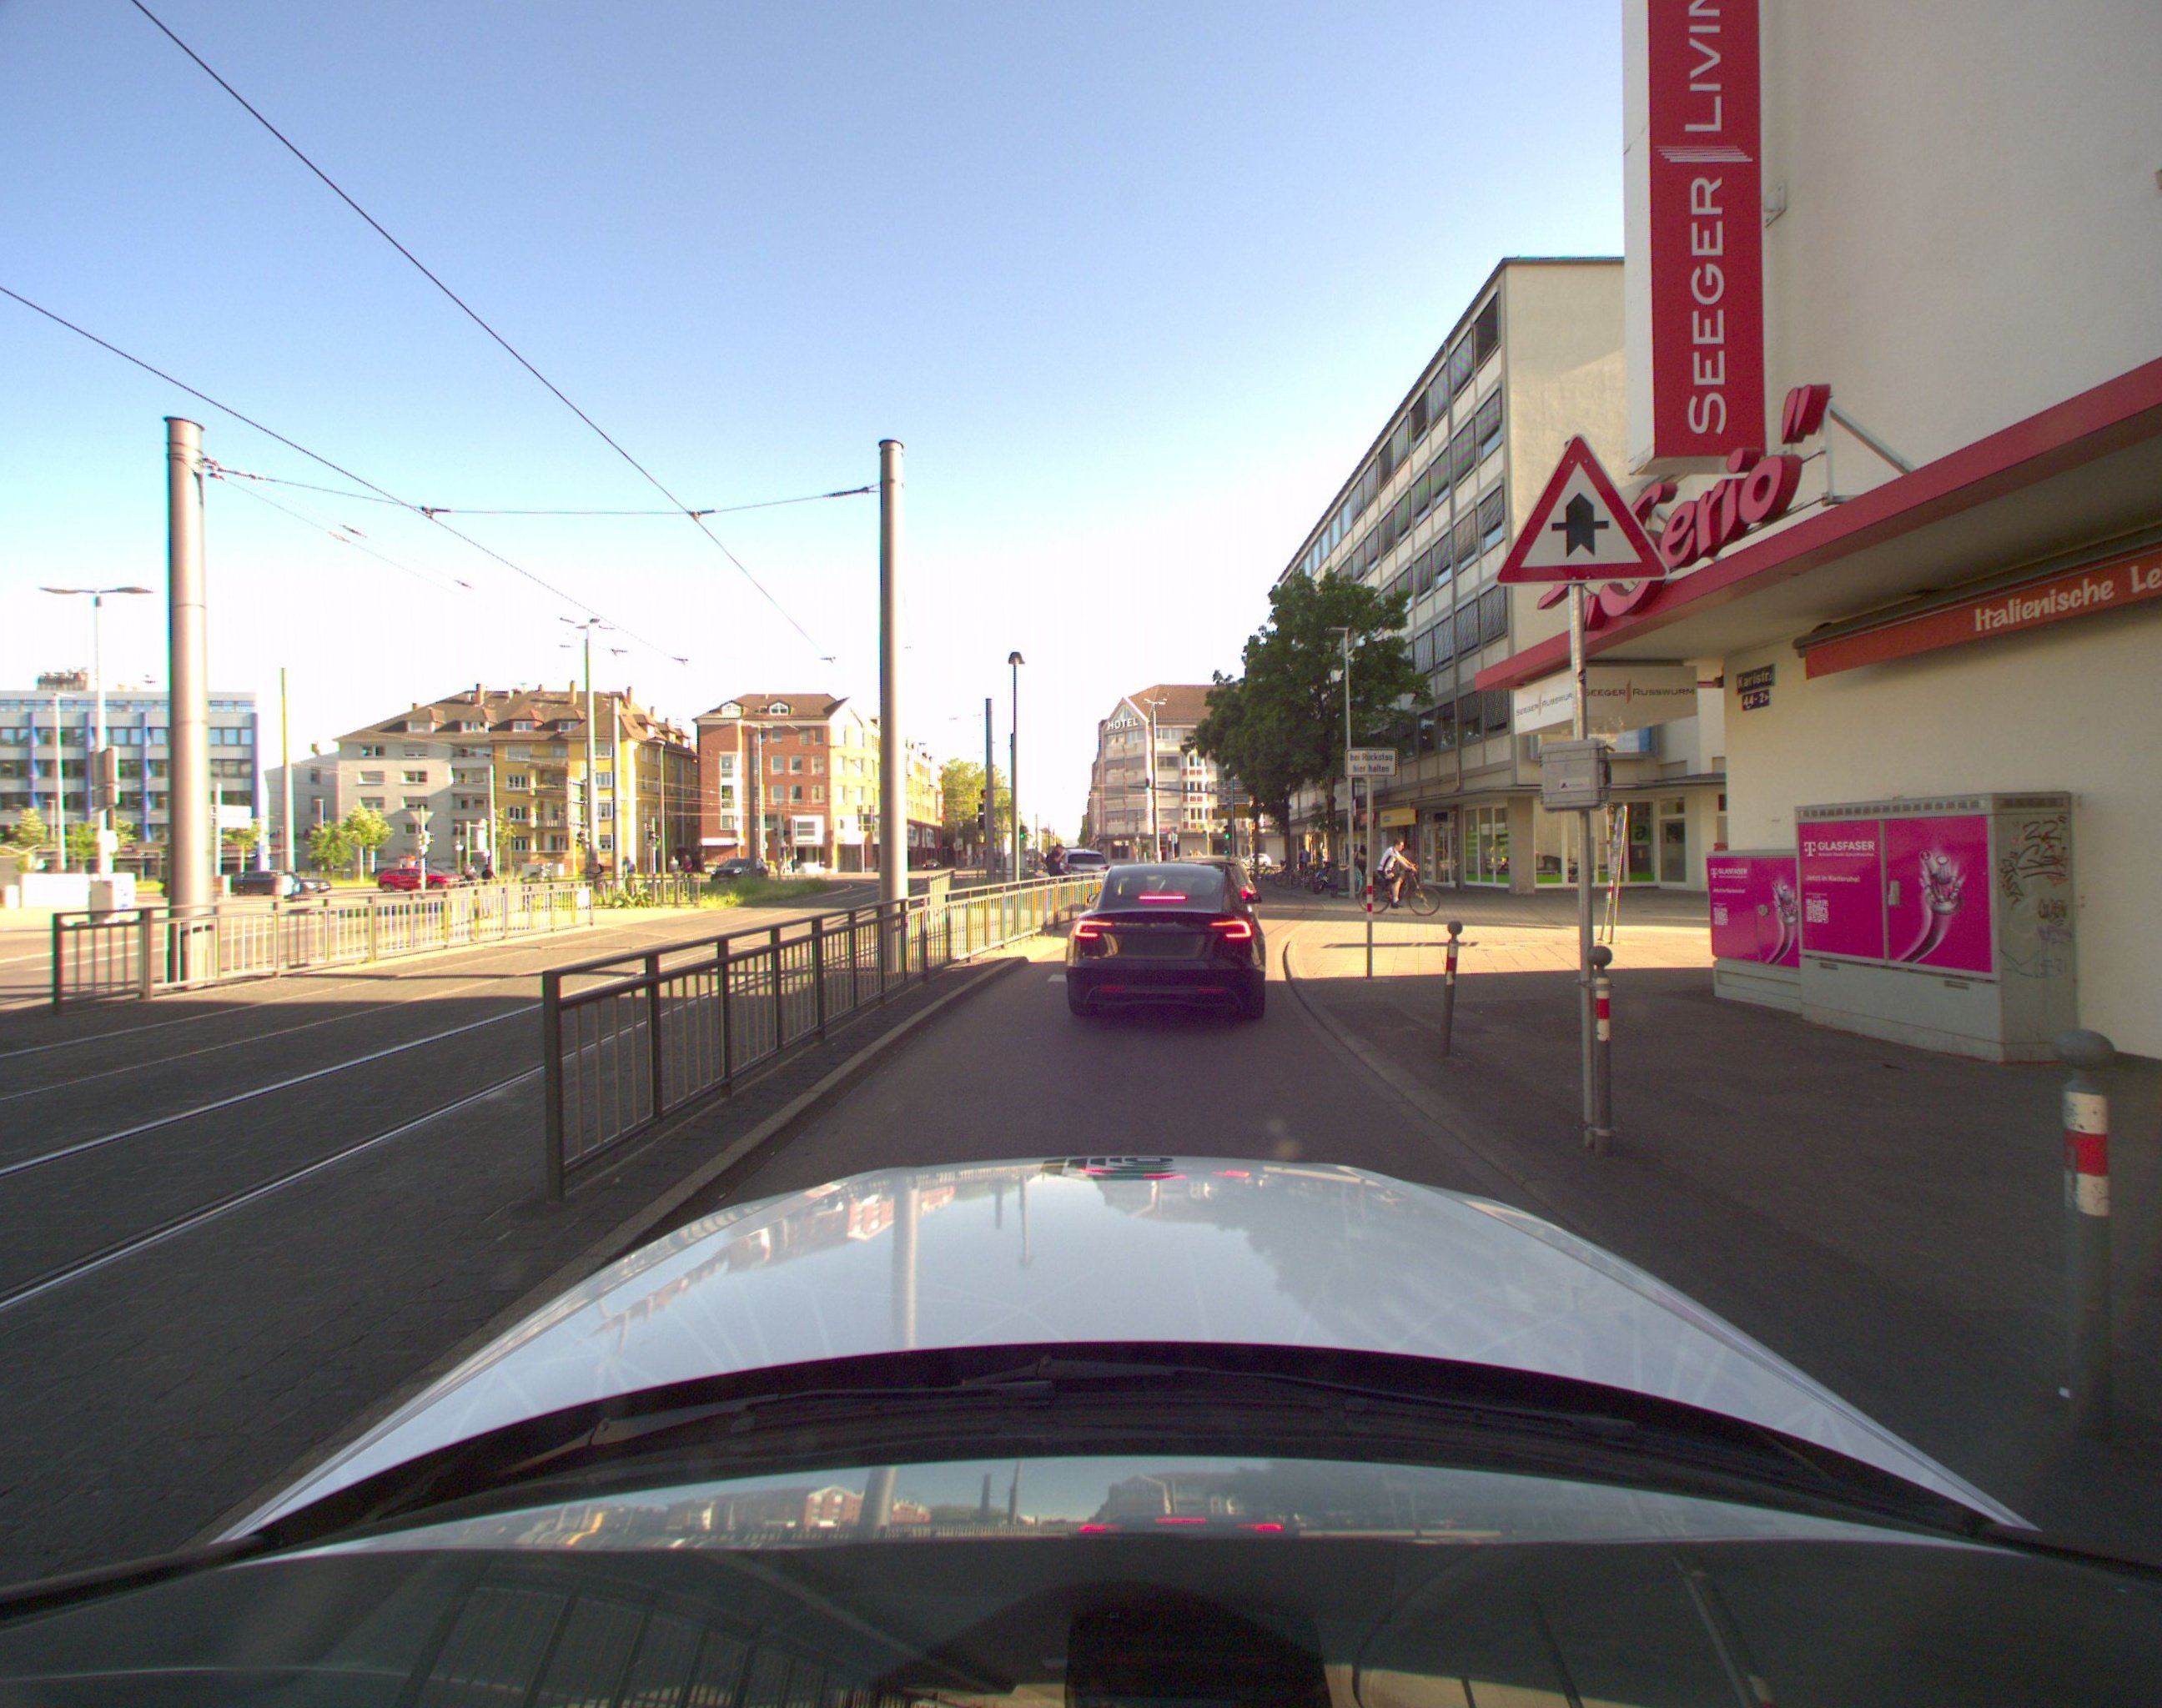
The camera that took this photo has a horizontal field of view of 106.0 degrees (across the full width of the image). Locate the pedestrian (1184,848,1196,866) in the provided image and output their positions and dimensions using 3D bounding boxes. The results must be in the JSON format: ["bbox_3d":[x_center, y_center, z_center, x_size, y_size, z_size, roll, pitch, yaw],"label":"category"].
[{"bbox_3d":[9.727,0.223,72.610,0.780,1.576,0.864,0,1,-13],"label":"pedestrian"}]

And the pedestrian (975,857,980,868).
[{"bbox_3d":[-13.950,1.165,109.667,0.584,1.531,0.634,0,-1,-15],"label":"pedestrian"}]

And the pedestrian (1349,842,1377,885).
[{"bbox_3d":[11.337,0.396,32.771,0.840,1.707,0.880,0,-1,1],"label":"pedestrian"}]

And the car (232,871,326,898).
[{"bbox_3d":[-46.344,1.728,47.119,3.695,1.472,1.572,0,-1,-6],"label":"car"}]

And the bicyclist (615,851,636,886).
[{"bbox_3d":[-21.876,0.709,39.108,0.518,1.673,0.771,0,-1,3],"label":"bicyclist"}]

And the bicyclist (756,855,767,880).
[{"bbox_3d":[-21.709,0.914,55.327,0.589,1.649,0.803,0,-1,-12],"label":"bicyclist"}]

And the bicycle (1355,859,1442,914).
[{"bbox_3d":[7.384,0.741,18.964,1.803,1.212,0.586,-1,-1,28],"label":"bicycle"}]

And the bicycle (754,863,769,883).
[{"bbox_3d":[-21.712,1.291,55.446,0.573,1.291,2.019,0,-1,-10],"label":"bicycle"}]

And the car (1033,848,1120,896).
[{"bbox_3d":[-0.218,0.617,29.206,1.848,1.635,3.457,0,-1,-25],"label":"car"}]

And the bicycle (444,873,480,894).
[{"bbox_3d":[-34.947,1.663,45.983,1.497,1.133,0.609,0,-1,-13],"label":"bicycle"}]

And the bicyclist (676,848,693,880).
[{"bbox_3d":[-21.316,0.546,43.801,0.518,1.673,0.771,0,-1,3],"label":"bicyclist"}]

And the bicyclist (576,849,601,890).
[{"bbox_3d":[-20.528,0.641,33.952,0.522,1.673,0.771,0,-1,3],"label":"bicyclist"}]

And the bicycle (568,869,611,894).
[{"bbox_3d":[-20.520,1.129,34.022,0.527,1.013,1.899,0,-1,4],"label":"bicycle"}]

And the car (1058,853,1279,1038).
[{"bbox_3d":[0.892,0.745,8.602,1.782,1.450,3.946,0,1,5],"label":"car"}]

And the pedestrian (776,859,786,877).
[{"bbox_3d":[-29.264,1.336,79.481,0.694,1.710,0.928,0,-1,-5],"label":"pedestrian"}]

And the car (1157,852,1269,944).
[{"bbox_3d":[2.363,0.696,15.270,1.755,1.444,4.537,0,0,7],"label":"car"}]

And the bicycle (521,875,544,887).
[{"bbox_3d":[-35.155,1.721,52.156,1.174,0.764,0.318,0,-1,-15],"label":"bicycle"}]

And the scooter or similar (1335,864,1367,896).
[{"bbox_3d":[8.955,0.859,27.018,0.952,1.039,0.160,-1,0,4],"label":"scooter or similar"}]

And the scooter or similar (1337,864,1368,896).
[{"bbox_3d":[8.940,0.846,26.820,0.959,1.043,0.160,-1,0,4],"label":"scooter or similar"}]

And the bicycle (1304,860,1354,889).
[{"bbox_3d":[9.506,0.781,31.226,1.850,1.056,0.398,-2,0,-10],"label":"bicycle"}]

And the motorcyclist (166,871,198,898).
[{"bbox_3d":[-51.764,1.747,46.892,0.919,1.524,0.781,0,-1,-5],"label":"motorcyclist"}]

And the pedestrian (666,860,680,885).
[{"bbox_3d":[-27.527,1.229,54.912,0.624,1.688,0.703,0,1,-11],"label":"pedestrian"}]

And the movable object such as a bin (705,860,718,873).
[{"bbox_3d":[-39.799,1.347,87.640,0.995,1.437,1.093,0,-1,-8],"label":"movable object such as a bin"}]

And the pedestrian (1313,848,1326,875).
[{"bbox_3d":[12.700,0.397,43.421,0.640,1.422,0.623,-1,-1,13],"label":"pedestrian"}]

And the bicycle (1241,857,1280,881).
[{"bbox_3d":[9.347,0.776,42.349,1.882,1.156,0.480,-2,-1,2],"label":"bicycle"}]

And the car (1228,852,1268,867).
[{"bbox_3d":[17.625,0.615,86.223,3.832,1.432,1.801,-1,-2,-4],"label":"car"}]

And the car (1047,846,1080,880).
[{"bbox_3d":[-0.854,0.456,41.013,1.568,1.618,3.782,0,-1,0],"label":"car"}]

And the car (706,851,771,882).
[{"bbox_3d":[-18.570,0.657,44.299,1.678,1.560,4.124,0,-1,2],"label":"car"}]

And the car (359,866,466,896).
[{"bbox_3d":[-39.600,1.580,48.338,4.548,1.509,1.777,-2,0,-9],"label":"car"}]

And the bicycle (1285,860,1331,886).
[{"bbox_3d":[9.261,0.775,33.251,1.758,1.057,0.459,0,-1,6],"label":"bicycle"}]

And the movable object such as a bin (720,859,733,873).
[{"bbox_3d":[-38.278,1.317,87.929,0.995,1.437,1.093,0,-1,-8],"label":"movable object such as a bin"}]

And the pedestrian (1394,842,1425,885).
[{"bbox_3d":[12.609,0.354,31.258,0.840,1.602,0.880,0,-1,1],"label":"pedestrian"}]

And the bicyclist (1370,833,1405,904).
[{"bbox_3d":[7.187,0.330,19.073,0.674,1.631,0.582,-1,-1,28],"label":"bicyclist"}]

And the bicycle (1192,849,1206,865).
[{"bbox_3d":[10.608,0.272,73.169,0.583,1.463,1.678,-1,0,-13],"label":"bicycle"}]

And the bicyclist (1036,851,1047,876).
[{"bbox_3d":[-2.808,0.691,57.662,0.612,1.772,0.827,0,-1,-11],"label":"bicyclist"}]

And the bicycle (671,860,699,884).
[{"bbox_3d":[-21.319,0.959,43.872,0.527,1.214,1.887,0,-1,4],"label":"bicycle"}]

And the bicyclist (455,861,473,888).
[{"bbox_3d":[-34.863,1.171,46.011,0.615,1.493,0.607,0,-1,-12],"label":"bicyclist"}]

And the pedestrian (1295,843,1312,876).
[{"bbox_3d":[11.956,0.288,43.785,0.837,1.721,0.883,-1,-1,14],"label":"pedestrian"}]

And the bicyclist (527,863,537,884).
[{"bbox_3d":[-35.175,1.269,52.181,0.459,1.316,0.398,0,-1,-14],"label":"bicyclist"}]

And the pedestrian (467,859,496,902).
[{"bbox_3d":[-27.533,1.197,37.411,0.716,1.934,0.802,-1,-1,22],"label":"pedestrian"}]

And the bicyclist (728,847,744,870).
[{"bbox_3d":[-22.131,0.289,52.249,0.661,1.454,0.731,0,-1,2],"label":"bicyclist"}]

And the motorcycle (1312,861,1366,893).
[{"bbox_3d":[9.235,0.816,29.164,1.781,1.130,0.504,0,-1,-1],"label":"motorcycle"}]

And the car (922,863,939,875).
[{"bbox_3d":[-20.390,2.027,110.319,1.814,1.454,3.972,-2,0,-4],"label":"car"}]

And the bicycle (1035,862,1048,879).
[{"bbox_3d":[-2.823,1.149,57.765,0.627,1.223,2.033,0,-1,-11],"label":"bicycle"}]

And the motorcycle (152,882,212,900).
[{"bbox_3d":[-51.745,2.098,46.895,2.355,0.984,0.790,0,-1,-6],"label":"motorcycle"}]

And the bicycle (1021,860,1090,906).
[{"bbox_3d":[-0.693,0.779,22.433,1.831,1.212,0.635,0,-1,-29],"label":"bicycle"}]

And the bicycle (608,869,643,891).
[{"bbox_3d":[-21.873,1.252,39.118,0.527,1.013,1.887,0,-1,4],"label":"bicycle"}]

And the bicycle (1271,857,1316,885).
[{"bbox_3d":[9.181,0.748,35.244,1.805,1.151,0.435,-1,-1,-3],"label":"bicycle"}]

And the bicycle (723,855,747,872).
[{"bbox_3d":[-22.153,0.600,52.170,0.647,1.013,1.887,0,-1,4],"label":"bicycle"}]

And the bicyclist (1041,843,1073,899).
[{"bbox_3d":[-0.668,0.458,22.452,0.685,1.523,0.629,0,-1,-29],"label":"bicyclist"}]
